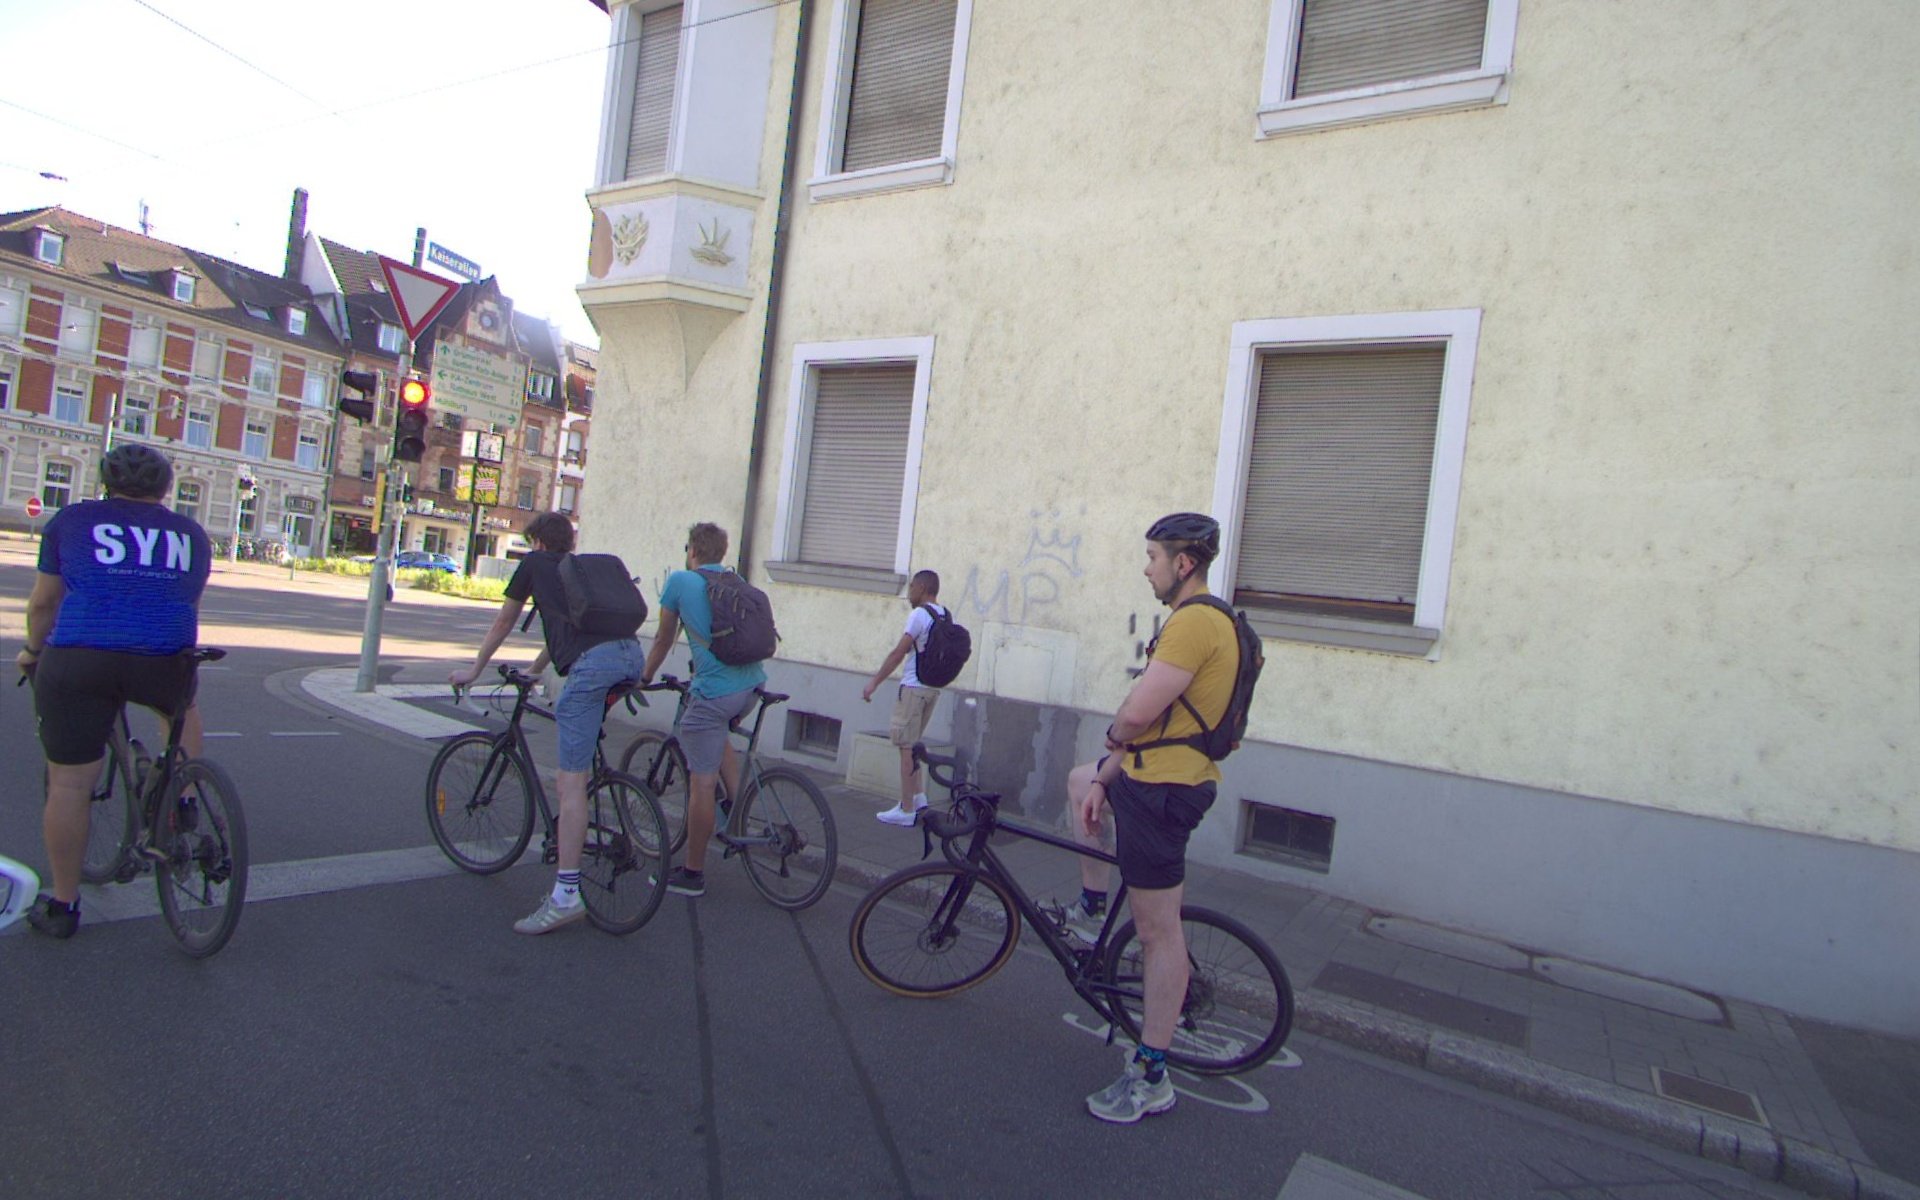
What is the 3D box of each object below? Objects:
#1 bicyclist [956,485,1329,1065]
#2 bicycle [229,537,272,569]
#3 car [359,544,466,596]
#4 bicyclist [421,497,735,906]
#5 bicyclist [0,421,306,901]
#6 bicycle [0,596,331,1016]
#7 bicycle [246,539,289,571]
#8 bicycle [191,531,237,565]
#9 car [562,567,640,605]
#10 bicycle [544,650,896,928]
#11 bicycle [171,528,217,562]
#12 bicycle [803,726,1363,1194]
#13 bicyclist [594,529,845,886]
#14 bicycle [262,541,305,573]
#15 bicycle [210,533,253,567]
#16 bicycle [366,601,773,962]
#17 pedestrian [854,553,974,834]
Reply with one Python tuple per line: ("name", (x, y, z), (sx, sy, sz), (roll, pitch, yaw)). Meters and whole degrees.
("bicyclist", (0.661, 0.523, 3.519), (0.869, 1.682, 0.807), (6, -1, 32))
("bicycle", (-33.405, -2.223, 47.362), (2.618, 1.301, 0.629), (6, -1, 33))
("car", (-25.461, -1.375, 46.904), (1.967, 1.798, 3.790), (6, -2, 31))
("bicyclist", (-1.737, 0.425, 4.632), (0.868, 1.625, 0.807), (7, -1, 30))
("bicyclist", (-3.023, 0.181, 3.668), (0.869, 1.512, 0.639), (9, 0, 36))
("bicycle", (-3.076, 0.620, 3.653), (1.676, 1.097, 0.627), (6, -1, 35))
("bicycle", (-33.038, -2.152, 47.992), (2.618, 1.301, 0.629), (6, -1, 33))
("bicycle", (-34.185, -2.402, 46.066), (2.618, 1.301, 0.693), (6, -1, 33))
("car", (-23.232, -0.878, 65.284), (1.967, 1.798, 4.374), (6, -2, 31))
("bicycle", (-1.284, 0.900, 5.239), (1.742, 1.043, 0.650), (6, -1, 33))
("bicycle", (-34.581, -2.502, 45.376), (2.618, 1.301, 0.693), (6, -1, 33))
("bicycle", (0.403, 1.112, 3.629), (1.751, 1.043, 0.756), (6, -2, 33))
("bicyclist", (-1.252, 0.523, 5.267), (0.869, 1.652, 0.690), (6, -1, 34))
("bicycle", (-32.669, -2.071, 48.581), (2.618, 1.301, 0.629), (6, -1, 33))
("bicycle", (-33.820, -2.322, 46.690), (2.618, 1.301, 0.629), (6, -1, 33))
("bicycle", (-1.829, 0.742, 4.665), (1.674, 1.251, 0.756), (6, -1, 30))
("pedestrian", (-0.325, 0.598, 6.752), (0.631, 1.780, 0.584), (4, 3, -7))
